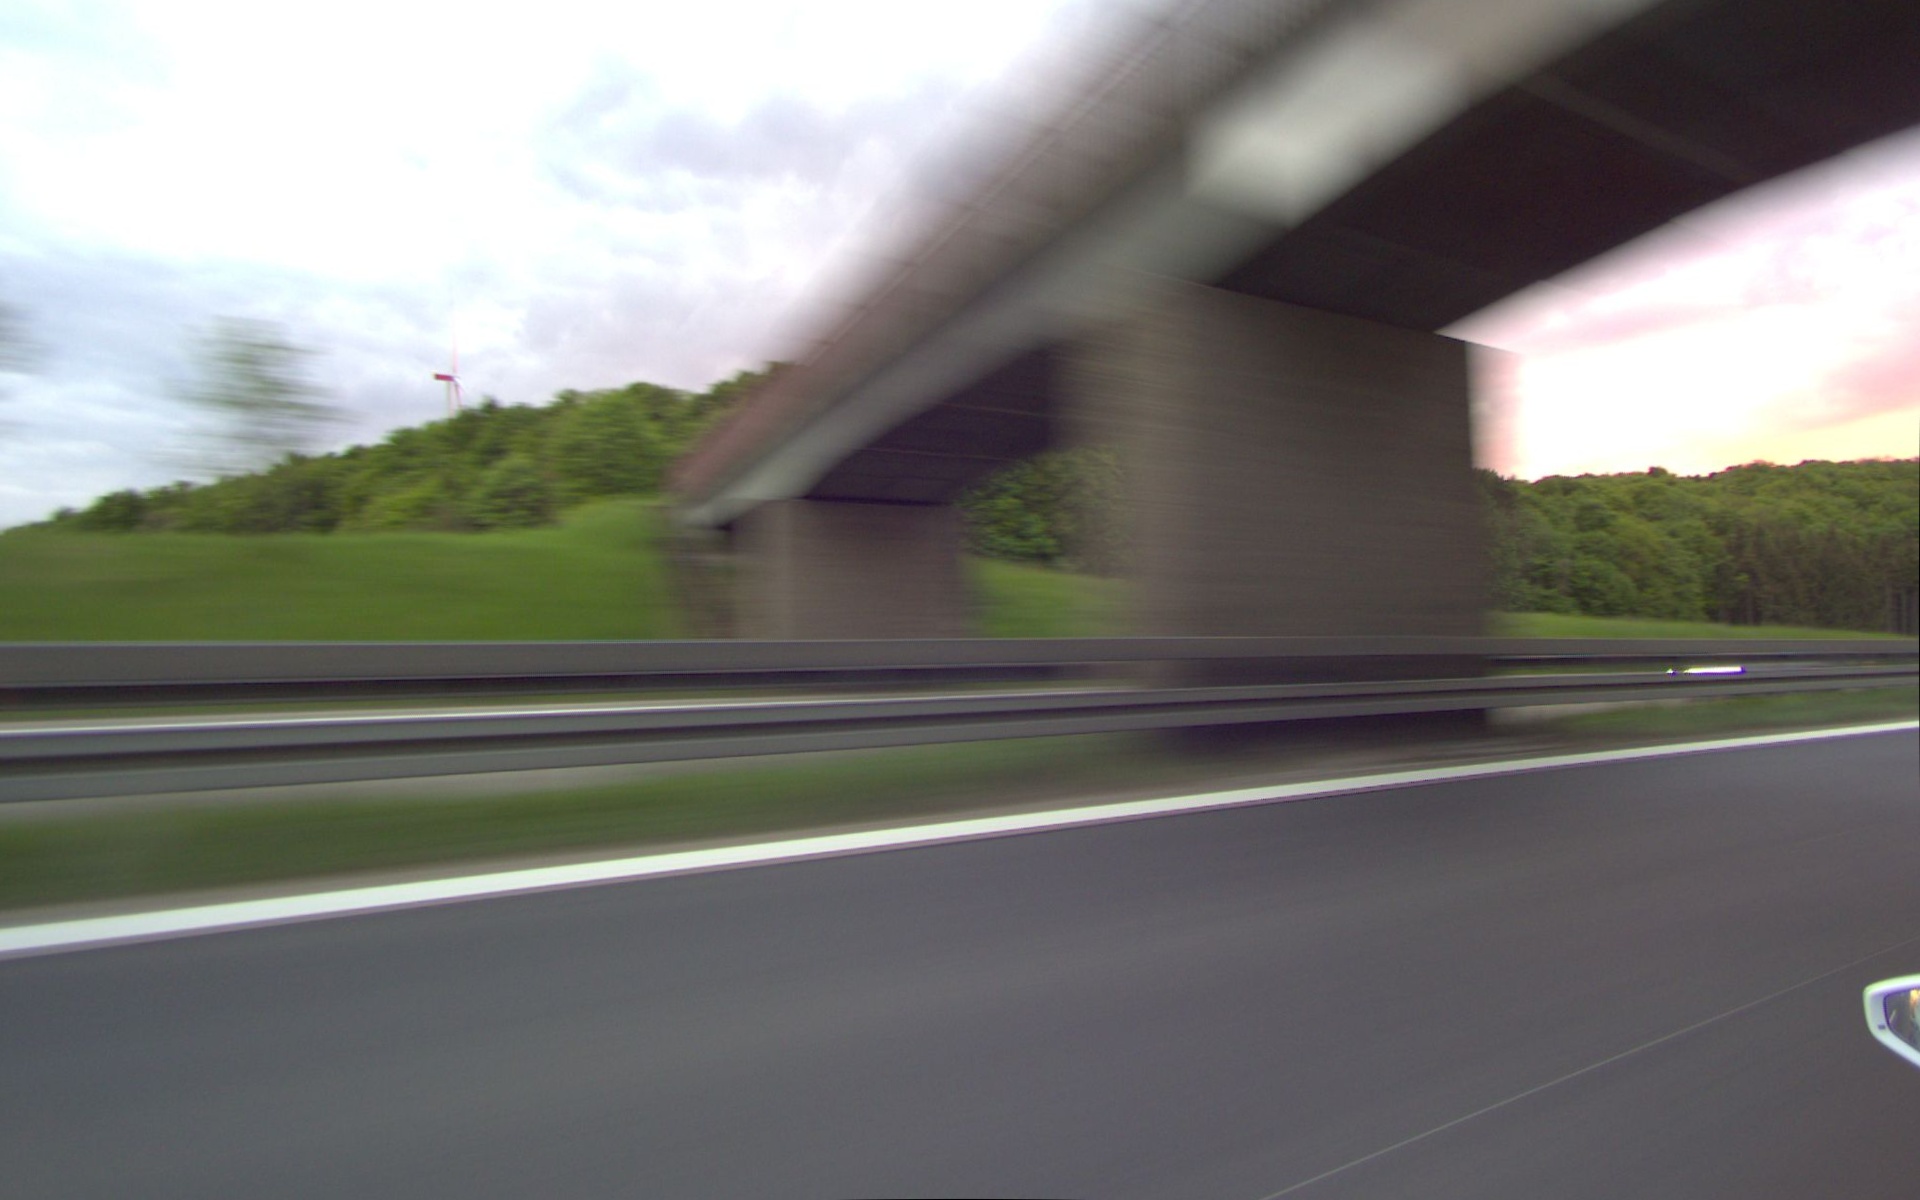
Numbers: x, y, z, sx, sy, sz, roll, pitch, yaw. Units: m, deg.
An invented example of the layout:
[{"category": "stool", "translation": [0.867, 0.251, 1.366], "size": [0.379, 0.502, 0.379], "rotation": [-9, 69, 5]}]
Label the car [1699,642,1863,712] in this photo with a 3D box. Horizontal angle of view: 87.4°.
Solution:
[{"category": "car", "translation": [19.764, 1.793, 24.151], "size": [3.952, 1.439, 1.725], "rotation": [1, 2, -30]}]
